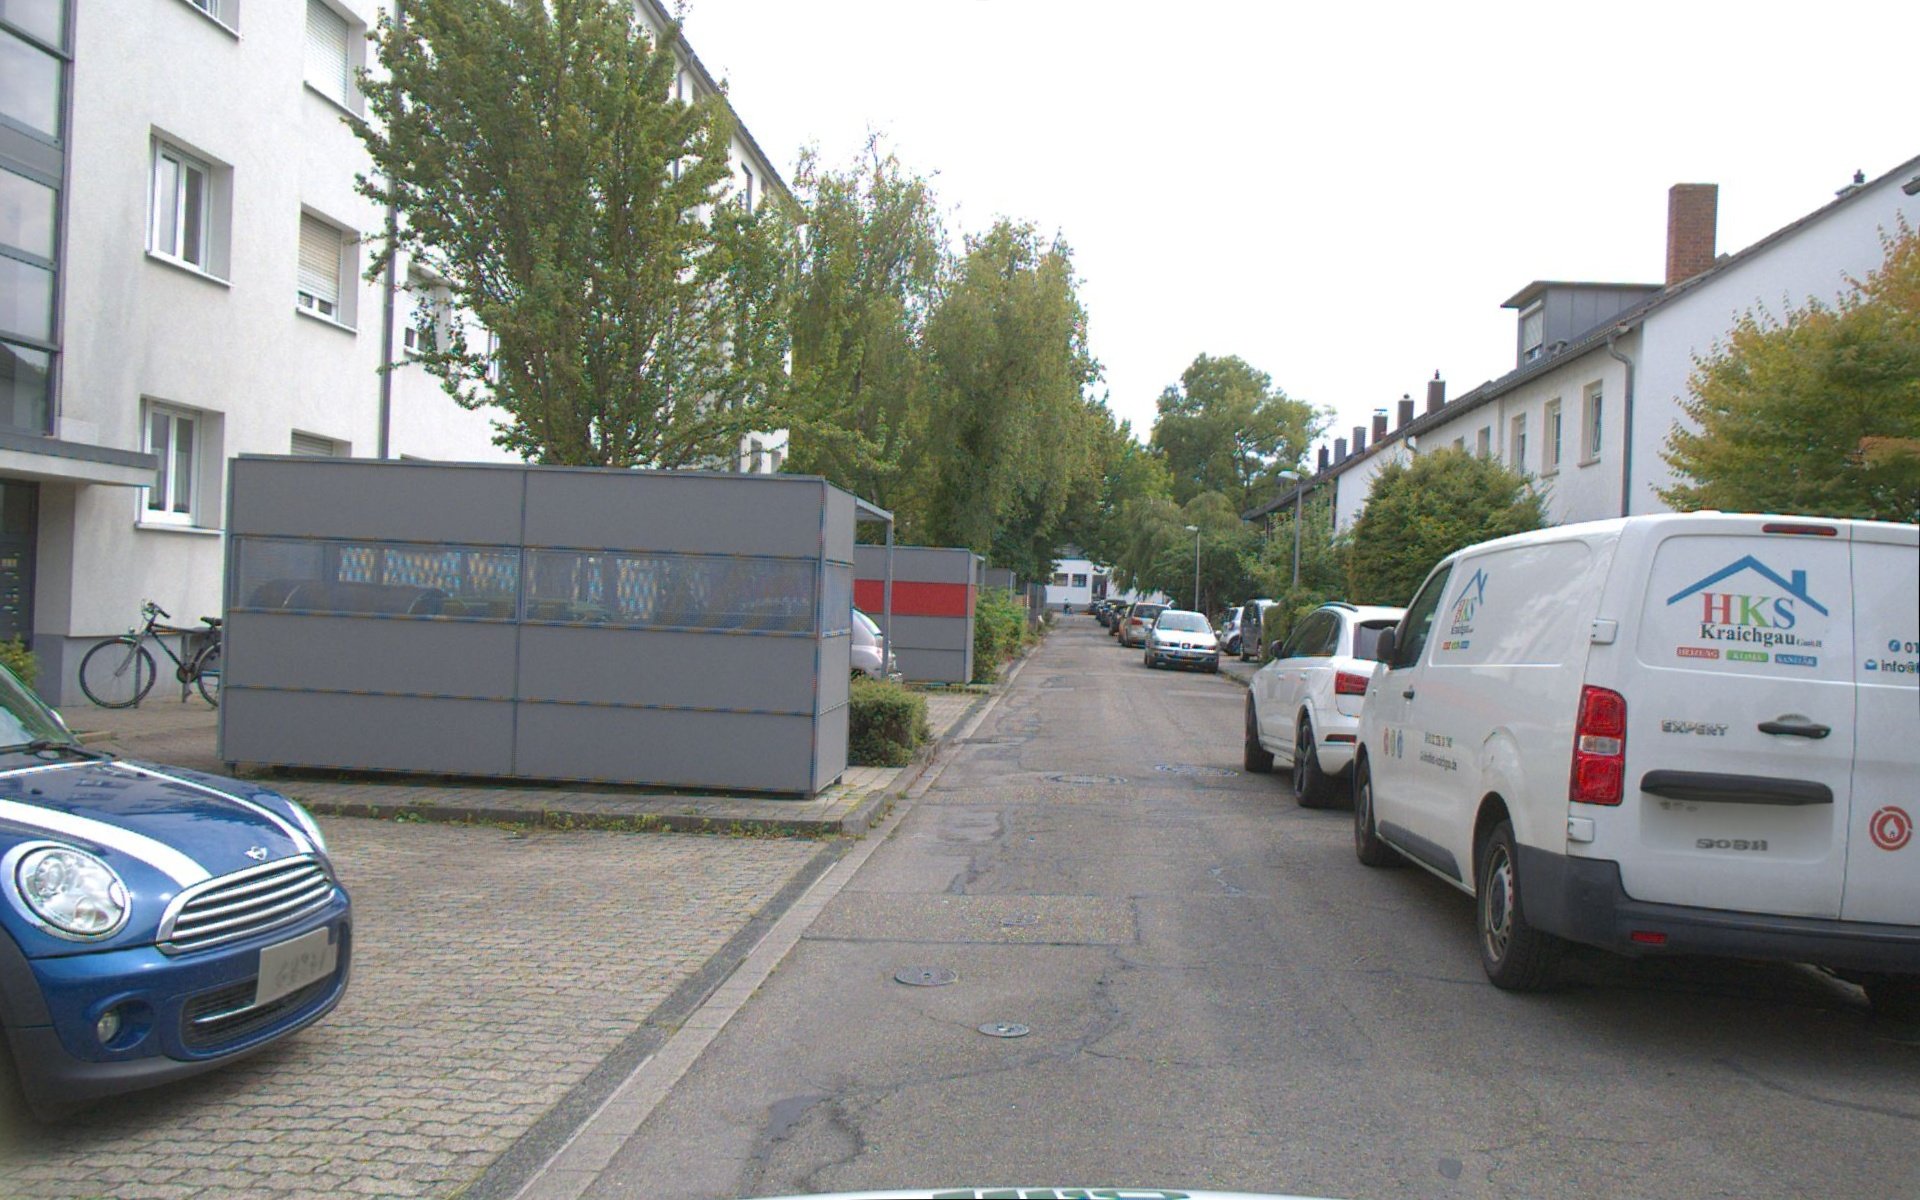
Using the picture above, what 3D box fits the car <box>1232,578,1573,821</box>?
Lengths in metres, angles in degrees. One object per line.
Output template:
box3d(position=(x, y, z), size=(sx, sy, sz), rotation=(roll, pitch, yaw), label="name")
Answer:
box3d(position=(3.550, 0.715, 14.074), size=(1.787, 1.664, 4.163), rotation=(3, 0, 1), label="car")

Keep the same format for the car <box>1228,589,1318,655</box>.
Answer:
box3d(position=(9.007, 0.627, 47.894), size=(1.787, 1.808, 4.341), rotation=(-1, 0, 0), label="car")

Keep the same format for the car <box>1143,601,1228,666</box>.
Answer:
box3d(position=(5.598, 0.794, 41.460), size=(1.787, 1.394, 4.333), rotation=(4, 0, 5), label="car")

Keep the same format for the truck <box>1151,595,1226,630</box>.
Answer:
box3d(position=(13.534, 0.740, 98.070), size=(4.298, 2.049, 2.001), rotation=(0, 0, 3), label="truck")

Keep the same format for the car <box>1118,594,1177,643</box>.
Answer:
box3d(position=(6.761, 0.630, 59.872), size=(1.787, 1.608, 4.001), rotation=(4, 0, 3), label="car")

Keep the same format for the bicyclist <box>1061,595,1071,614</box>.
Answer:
box3d(position=(9.328, 0.398, 145.250), size=(0.782, 1.537, 0.934), rotation=(3, 0, 6), label="bicyclist")

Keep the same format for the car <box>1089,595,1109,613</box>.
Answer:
box3d(position=(13.271, 0.360, 157.762), size=(1.787, 1.608, 4.002), rotation=(4, 0, 5), label="car")

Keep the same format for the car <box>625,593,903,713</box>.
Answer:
box3d(position=(-2.534, 0.672, 22.017), size=(3.489, 1.506, 1.710), rotation=(1, 0, 0), label="car")

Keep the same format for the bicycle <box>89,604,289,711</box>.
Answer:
box3d(position=(-7.929, 0.588, 17.050), size=(1.791, 1.044, 0.473), rotation=(2, 0, -37), label="bicycle")

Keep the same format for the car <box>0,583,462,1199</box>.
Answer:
box3d(position=(-3.621, 0.678, 5.136), size=(3.558, 1.487, 1.654), rotation=(2, 0, 7), label="car")

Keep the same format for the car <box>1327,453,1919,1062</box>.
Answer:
box3d(position=(3.239, 0.546, 8.218), size=(1.864, 1.998, 5.256), rotation=(3, 0, 3), label="car")

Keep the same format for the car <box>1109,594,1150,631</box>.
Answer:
box3d(position=(8.198, 0.597, 80.079), size=(1.787, 1.608, 4.195), rotation=(4, 0, 5), label="car")

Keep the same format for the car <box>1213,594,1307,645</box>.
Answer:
box3d(position=(9.692, 0.608, 53.604), size=(2.758, 1.596, 1.741), rotation=(0, 0, 1), label="car")
